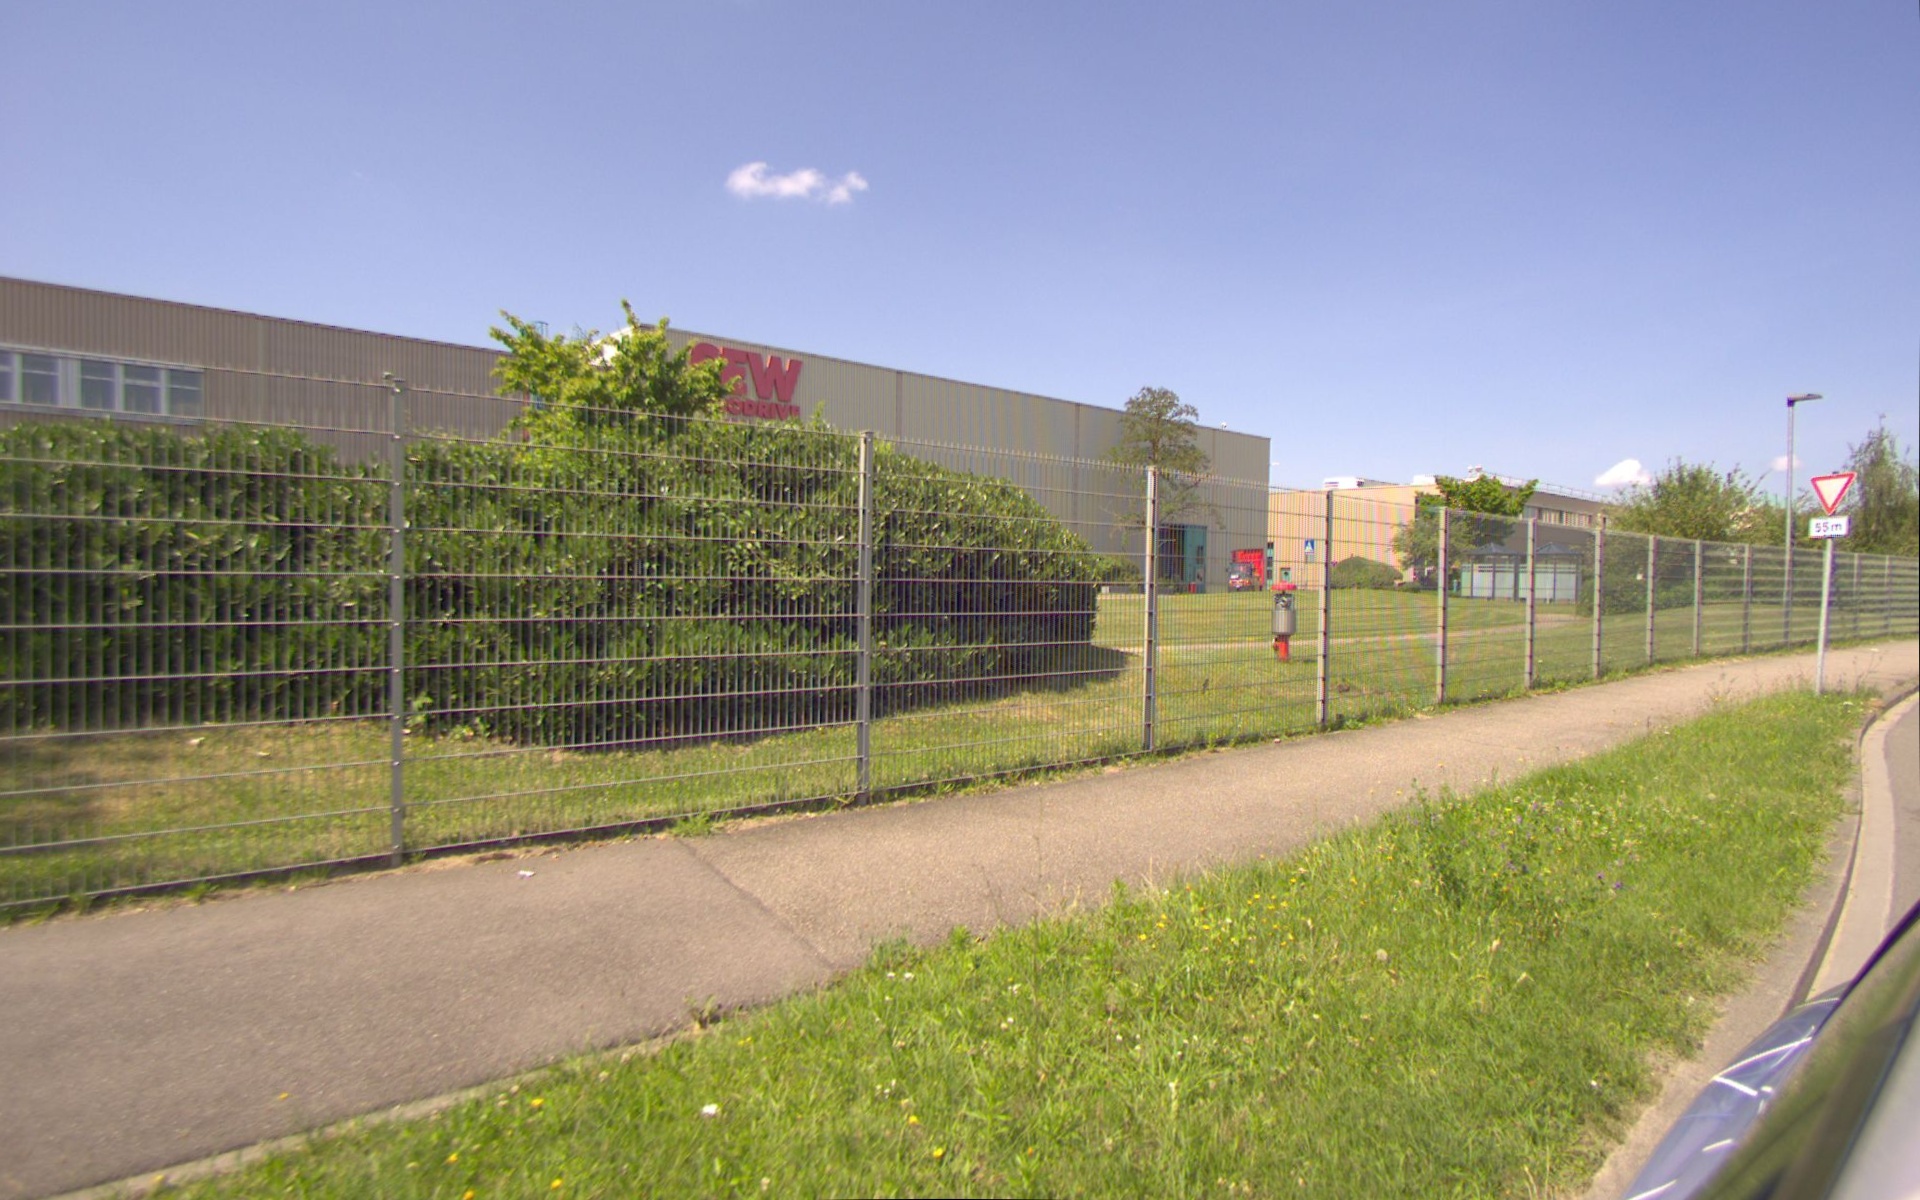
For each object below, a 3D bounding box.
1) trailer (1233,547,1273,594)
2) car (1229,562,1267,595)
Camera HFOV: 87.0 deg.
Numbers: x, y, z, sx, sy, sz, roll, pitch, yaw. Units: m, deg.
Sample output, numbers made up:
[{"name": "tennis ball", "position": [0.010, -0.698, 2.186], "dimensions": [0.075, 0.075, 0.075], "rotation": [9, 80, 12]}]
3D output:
[{"name": "trailer", "position": [18.207, -1.836, 62.682], "dimensions": [1.975, 2.755, 5.951], "rotation": [1, 2, 20]}, {"name": "car", "position": [16.528, -1.262, 57.987], "dimensions": [1.877, 1.838, 3.975], "rotation": [1, 2, 20]}]
